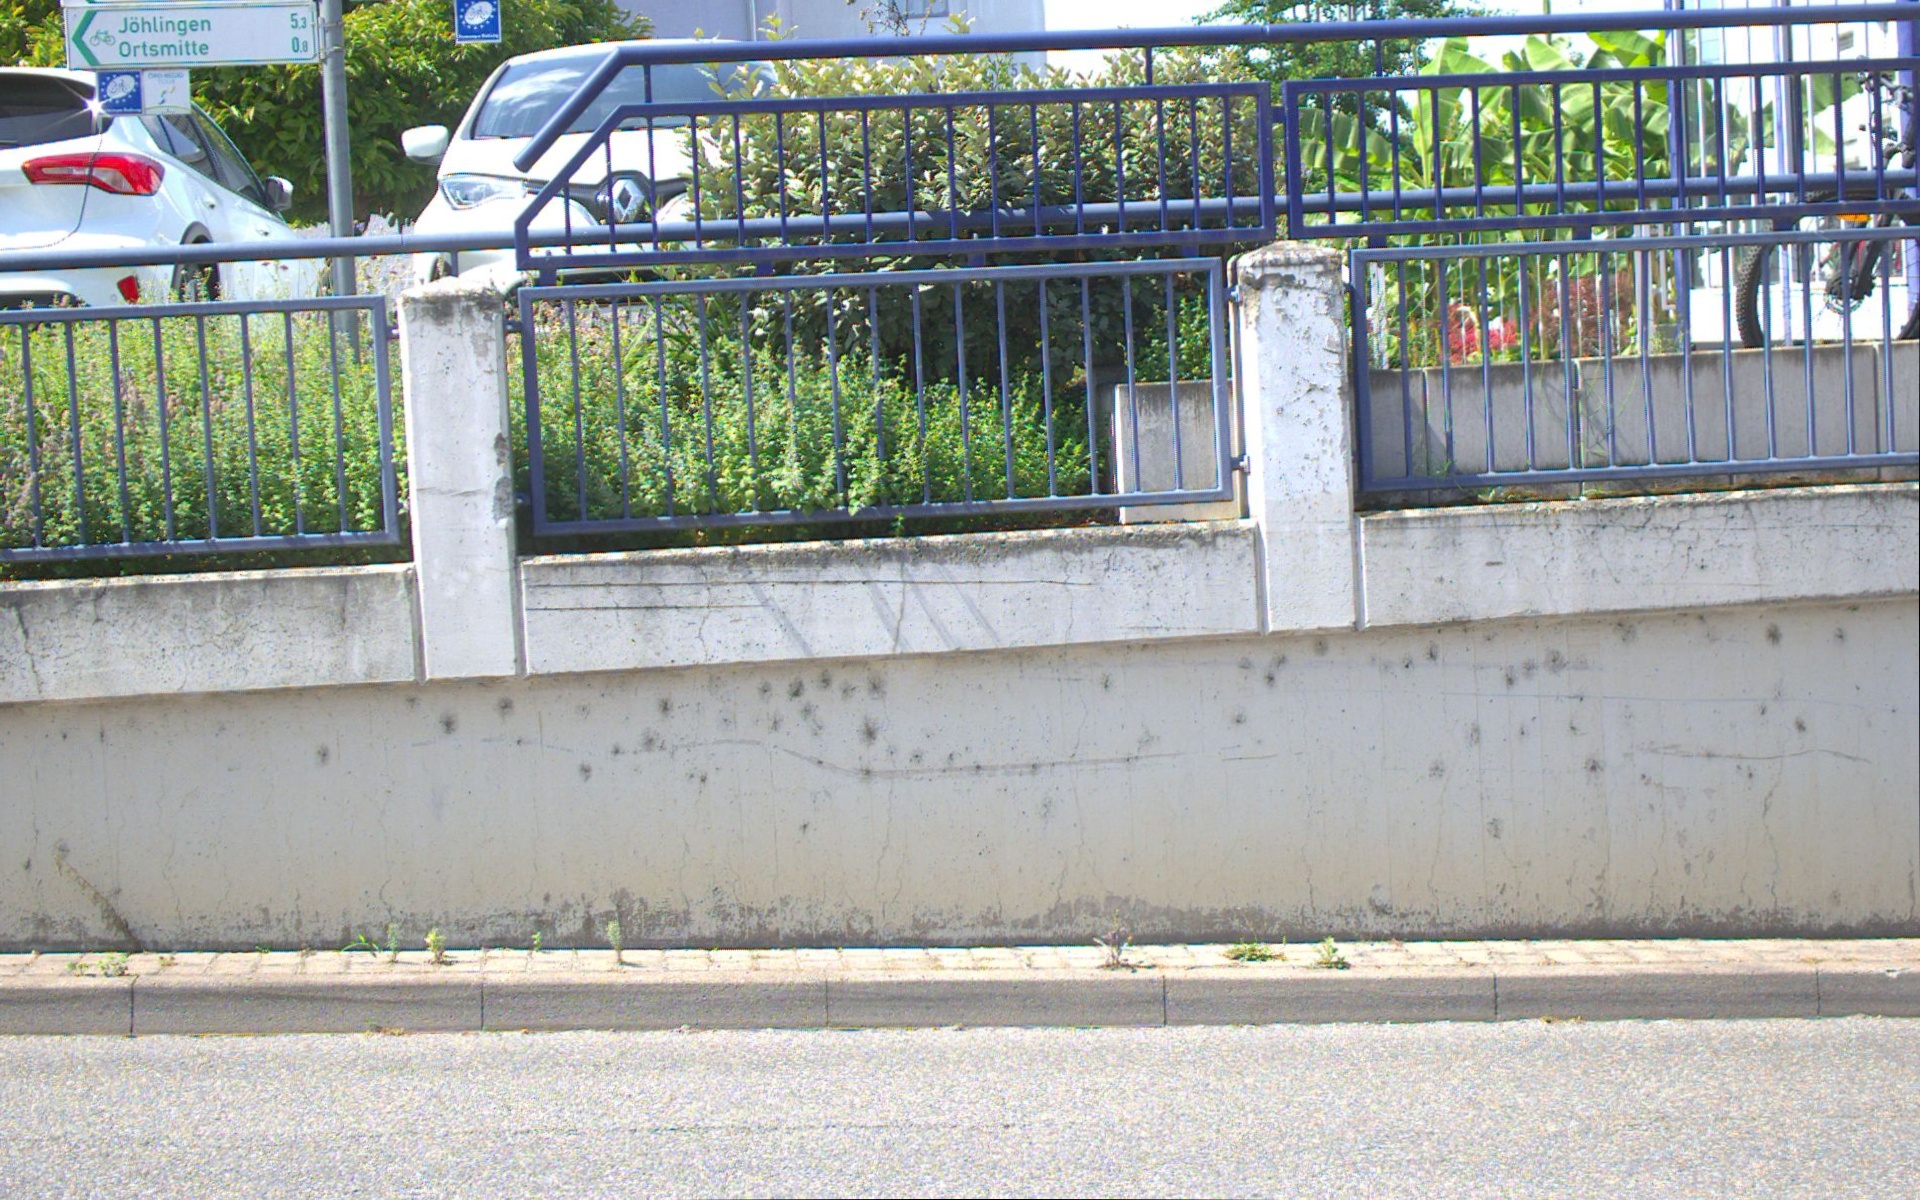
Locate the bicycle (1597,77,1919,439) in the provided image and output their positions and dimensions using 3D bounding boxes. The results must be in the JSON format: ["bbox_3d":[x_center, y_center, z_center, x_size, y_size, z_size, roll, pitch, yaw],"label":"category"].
[{"bbox_3d":[3.161,-1.125,11.185,2.114,1.122,0.333,-2,4,-7],"label":"bicycle"}]

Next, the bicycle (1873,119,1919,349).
[{"bbox_3d":[4.498,-1.654,15.734,0.455,0.991,1.888,-1,4,11],"label":"bicycle"}]

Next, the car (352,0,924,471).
[{"bbox_3d":[-1.160,-1.456,14.235,1.993,1.791,4.197,1,2,-1],"label":"car"}]

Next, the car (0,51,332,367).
[{"bbox_3d":[-3.811,-1.545,14.192,1.825,1.016,3.460,1,2,-1],"label":"car"}]
